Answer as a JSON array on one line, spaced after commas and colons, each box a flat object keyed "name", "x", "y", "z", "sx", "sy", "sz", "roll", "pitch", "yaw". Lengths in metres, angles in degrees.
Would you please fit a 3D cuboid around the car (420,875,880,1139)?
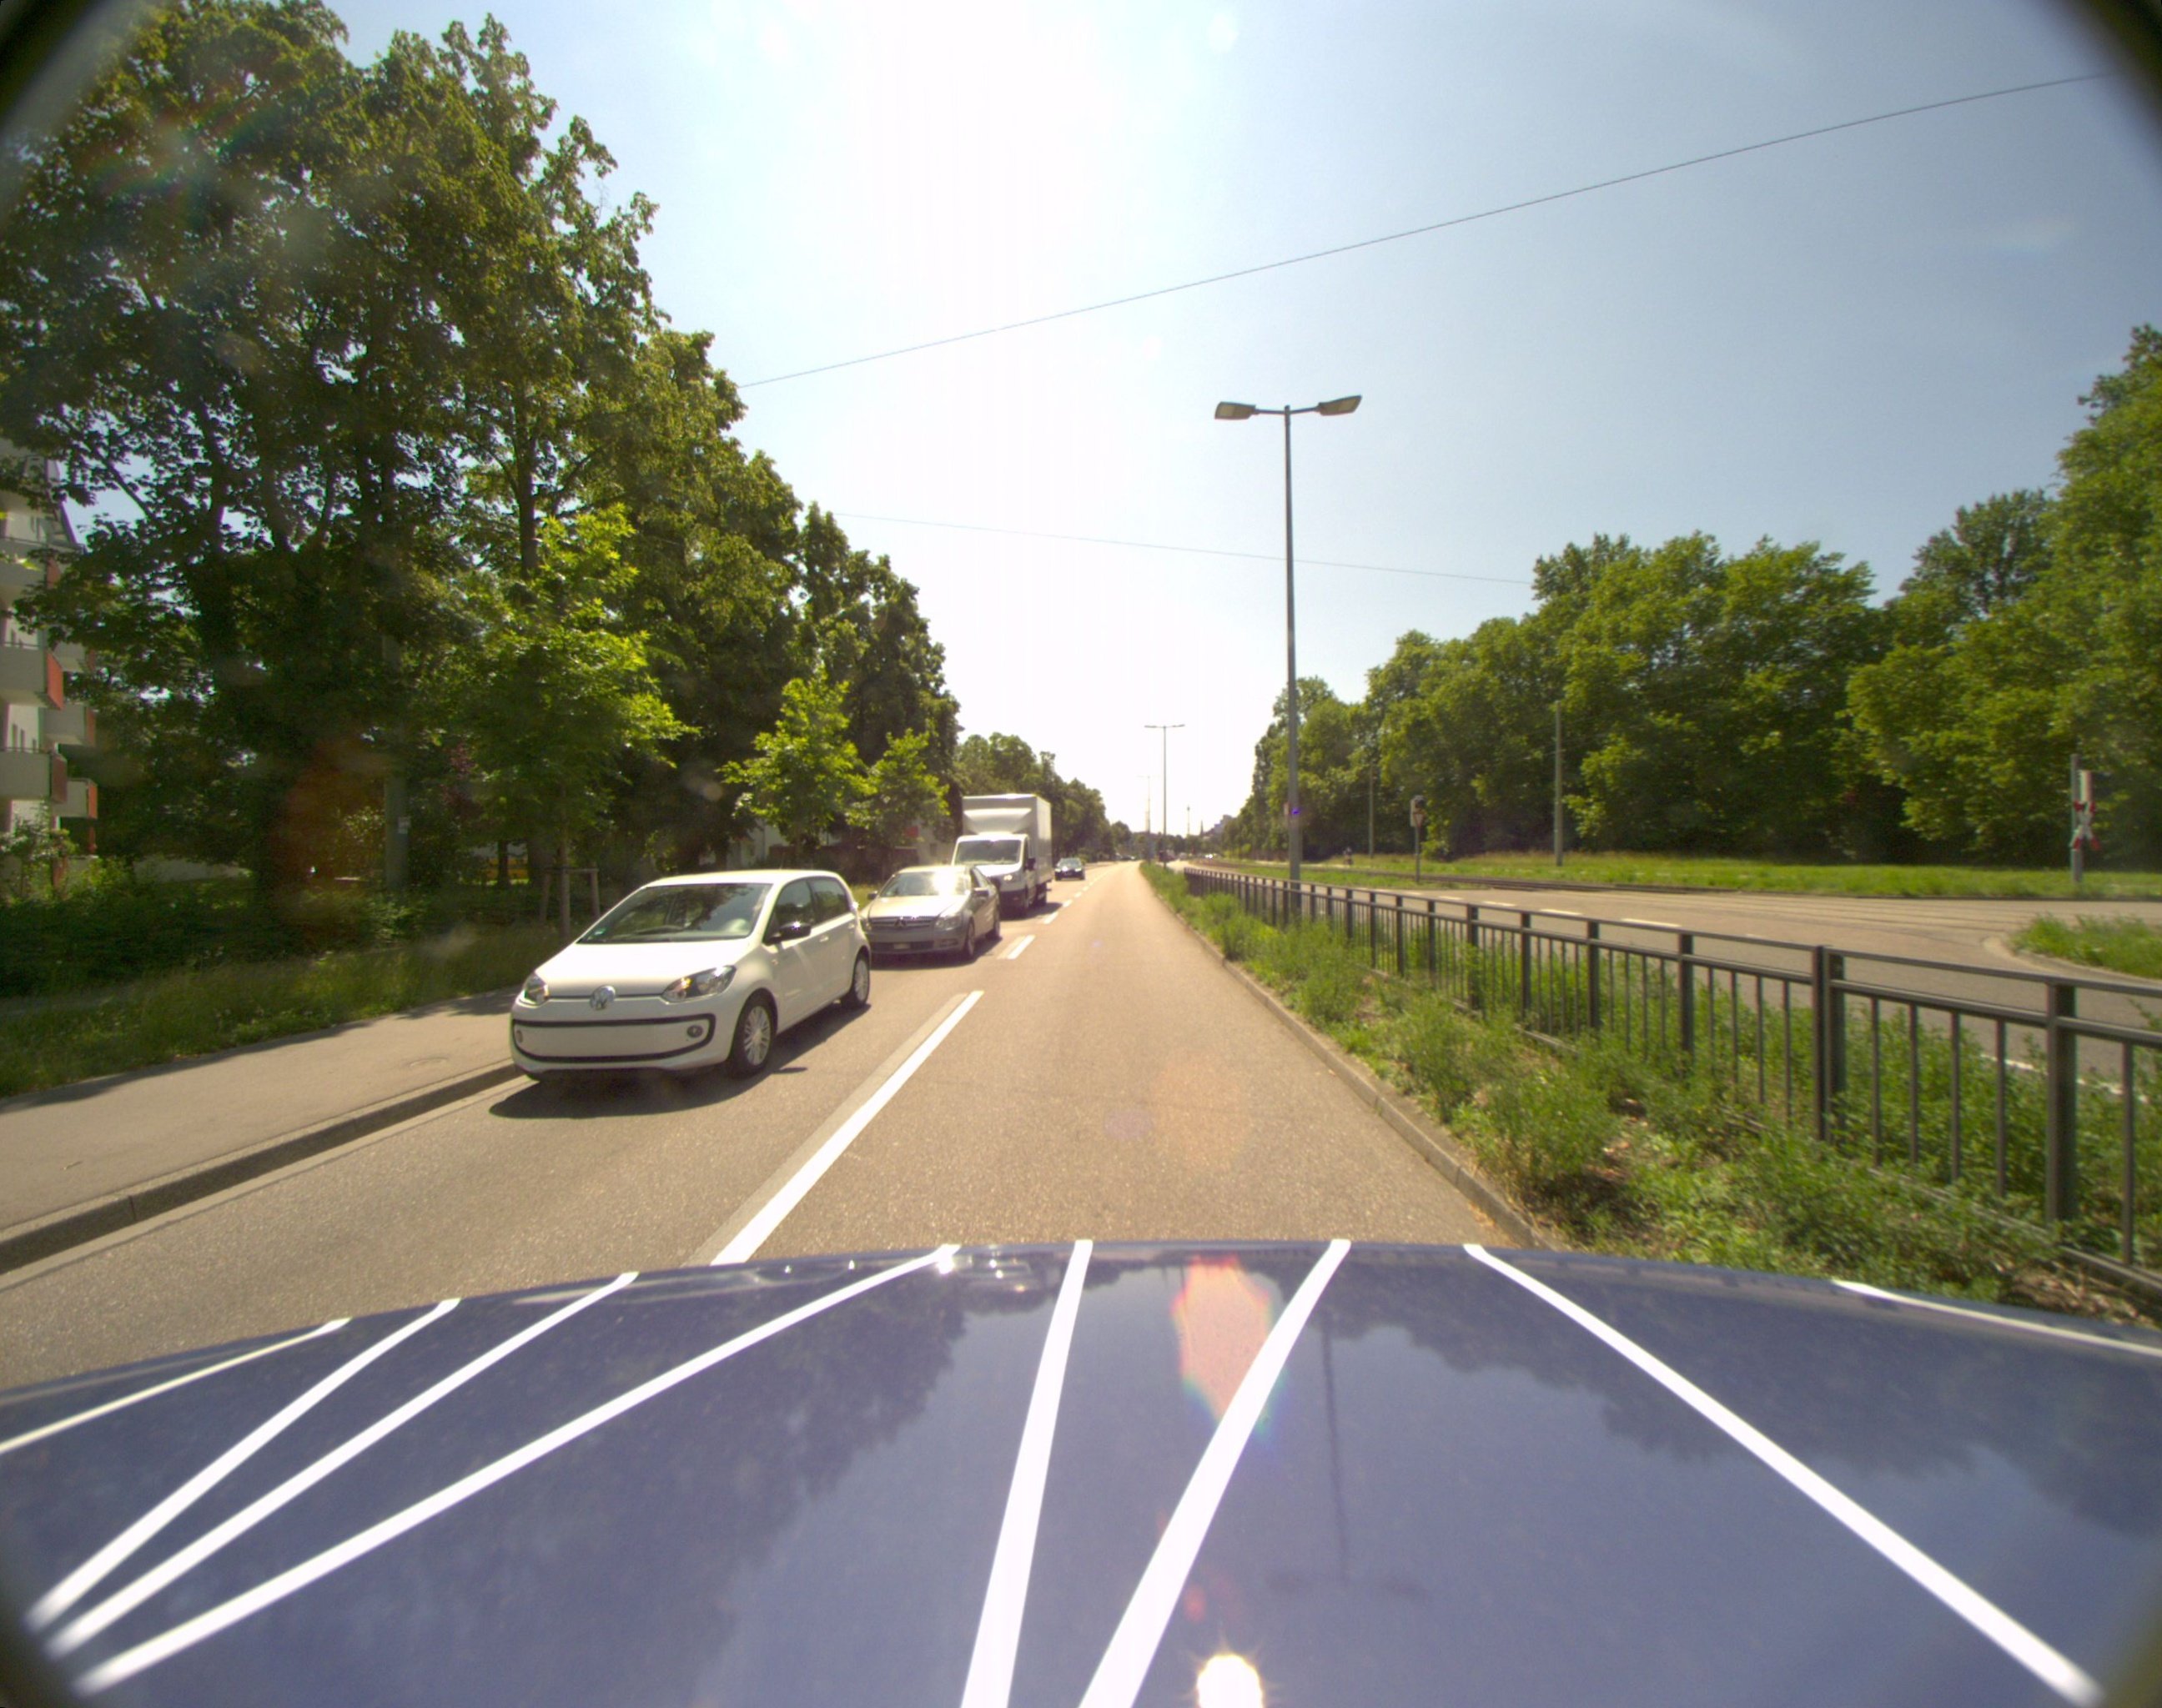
[{"name": "car", "x": -3.123, "y": 0.986, "z": 6.516, "sx": 1.730, "sy": 1.470, "sz": 3.771, "roll": -1, "pitch": 0, "yaw": 1}]

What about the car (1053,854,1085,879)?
[{"name": "car", "x": -0.757, "y": 0.800, "z": 49.954, "sx": 1.998, "sy": 1.499, "sz": 4.000, "roll": -1, "pitch": 0, "yaw": 1}]

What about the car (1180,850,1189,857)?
[{"name": "car", "x": 27.308, "y": -0.180, "z": 200.641, "sx": 1.998, "sy": 1.847, "sz": 4.001, "roll": -1, "pitch": 0, "yaw": 5}]

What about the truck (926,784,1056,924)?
[{"name": "truck", "x": -2.295, "y": -0.010, "z": 22.260, "sx": 2.433, "sy": 3.326, "sz": 7.923, "roll": -1, "pitch": 0, "yaw": 3}]

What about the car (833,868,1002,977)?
[{"name": "car", "x": -2.471, "y": 0.983, "z": 12.537, "sx": 1.840, "sy": 1.400, "sz": 4.087, "roll": -1, "pitch": 0, "yaw": 1}]

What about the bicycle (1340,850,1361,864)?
[{"name": "bicycle", "x": 23.697, "y": 0.233, "z": 66.908, "sx": 0.862, "sy": 1.155, "sz": 2.787, "roll": -1, "pitch": 0, "yaw": 1}]

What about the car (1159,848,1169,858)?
[{"name": "car", "x": 16.801, "y": -0.182, "z": 153.108, "sx": 1.997, "sy": 1.847, "sz": 4.002, "roll": -1, "pitch": 0, "yaw": 7}]

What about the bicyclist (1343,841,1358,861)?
[{"name": "bicyclist", "x": 23.715, "y": -0.267, "z": 66.844, "sx": 0.862, "sy": 1.796, "sz": 1.118, "roll": -1, "pitch": 1, "yaw": 1}]

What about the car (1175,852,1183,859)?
[{"name": "car", "x": 26.777, "y": 0.309, "z": 207.409, "sx": 1.998, "sy": 1.847, "sz": 4.001, "roll": -1, "pitch": 0, "yaw": 5}]
